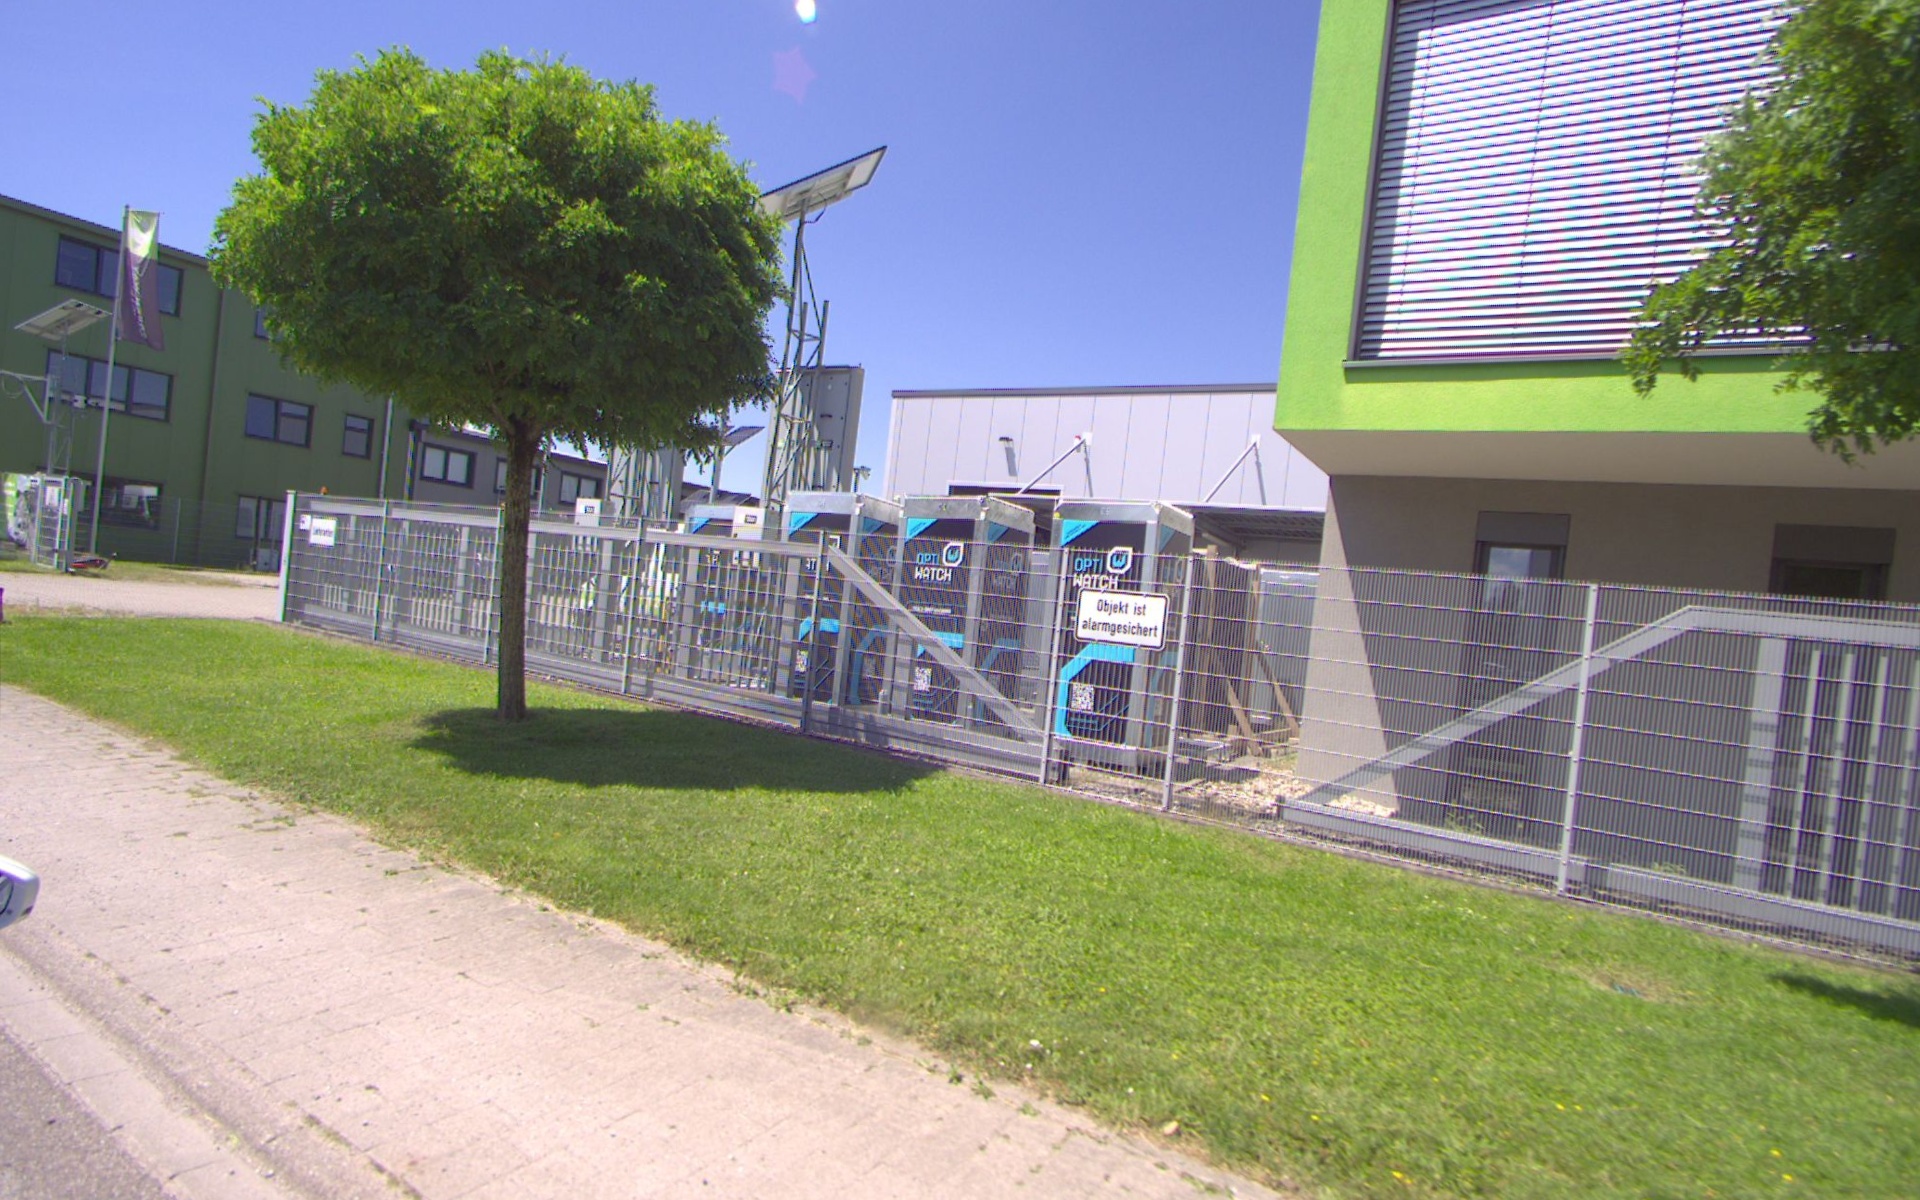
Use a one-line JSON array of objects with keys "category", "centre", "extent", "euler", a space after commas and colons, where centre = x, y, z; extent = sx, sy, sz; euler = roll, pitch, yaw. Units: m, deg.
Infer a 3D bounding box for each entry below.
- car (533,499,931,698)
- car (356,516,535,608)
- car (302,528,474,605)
[{"category": "car", "centre": [-4.033, -0.160, 16.918], "extent": [6.910, 2.527, 2.129], "euler": [6, 2, 32]}, {"category": "car", "centre": [-15.180, -1.144, 29.564], "extent": [5.561, 2.021, 1.995], "euler": [7, 1, 32]}, {"category": "car", "centre": [-15.292, -0.900, 26.845], "extent": [4.536, 1.456, 1.995], "euler": [7, 0, 32]}]
